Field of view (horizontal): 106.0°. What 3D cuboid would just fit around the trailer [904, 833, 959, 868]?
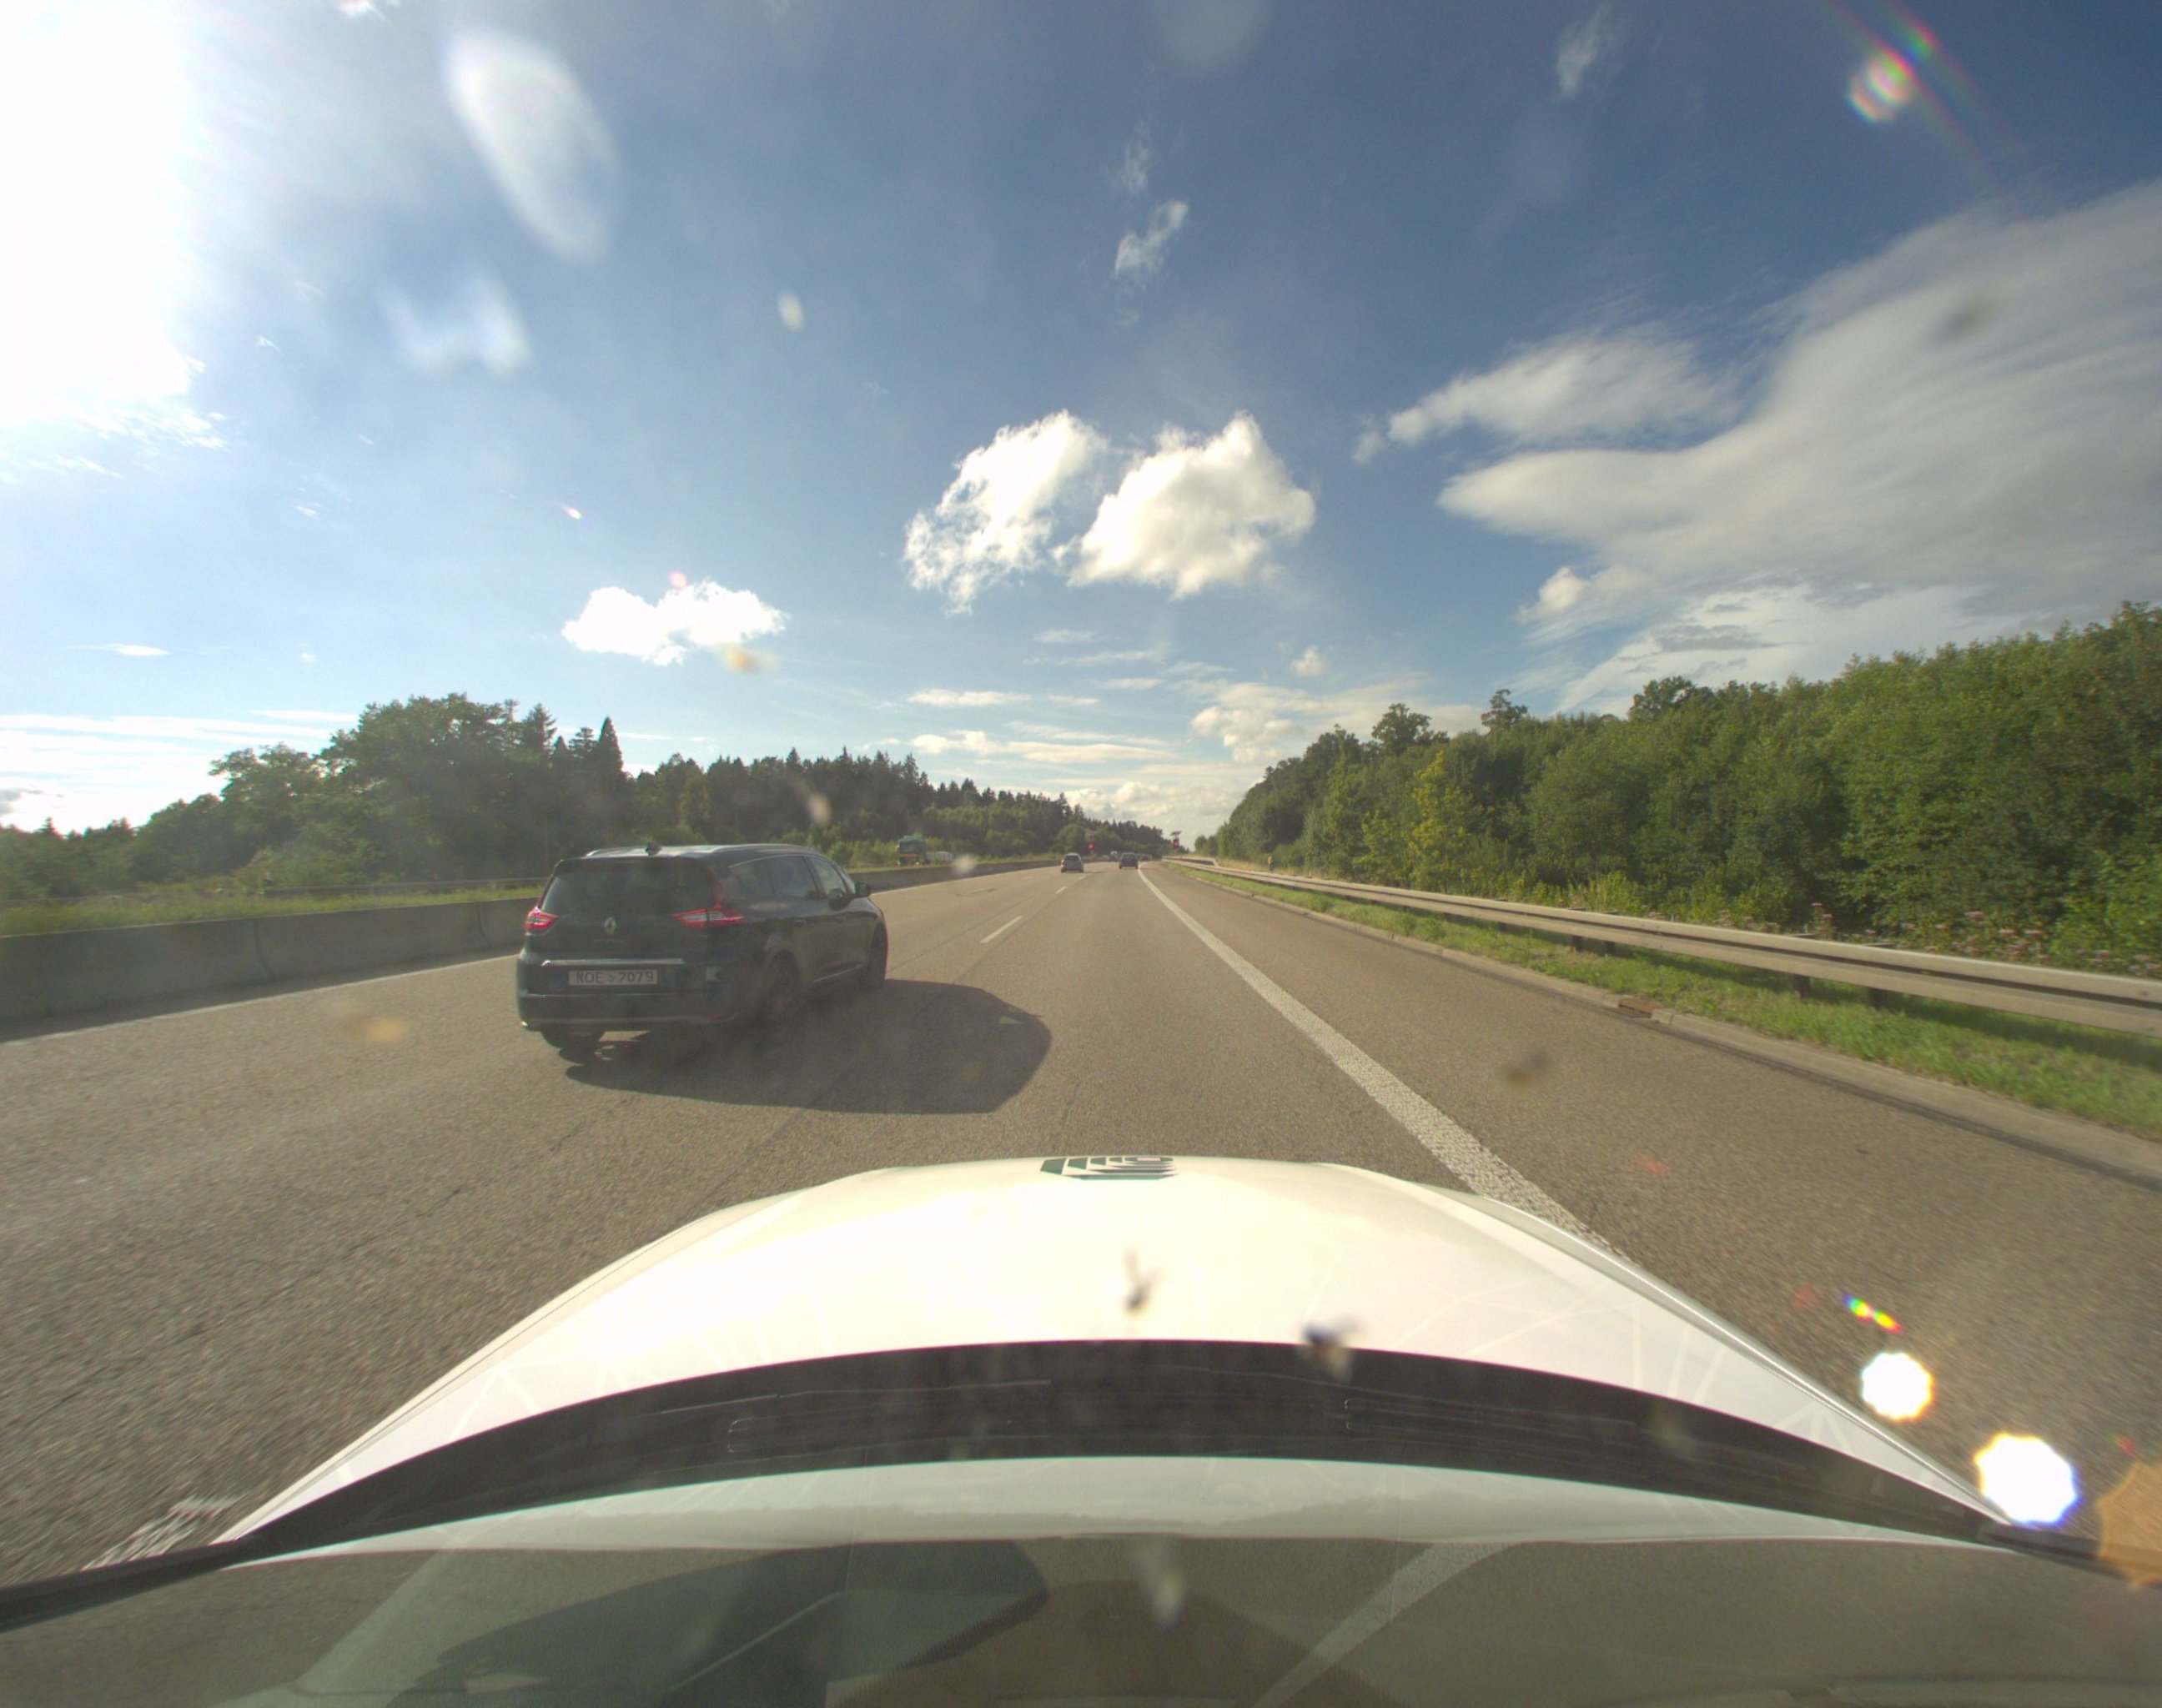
[{"bbox_3d":[-17.860,-0.400,98.529,3.361,4.009,13.651,-1,0,3],"label":"trailer"}]

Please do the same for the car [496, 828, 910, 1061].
[{"bbox_3d":[-3.286,0.666,8.316,1.986,1.707,4.531,-1,0,1],"label":"car"}]

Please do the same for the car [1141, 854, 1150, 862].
[{"bbox_3d":[15.540,0.974,196.244,1.803,1.706,4.007,-1,0,6],"label":"car"}]

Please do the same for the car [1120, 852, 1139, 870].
[{"bbox_3d":[4.895,0.693,82.870,1.866,1.675,3.892,-1,0,2],"label":"car"}]

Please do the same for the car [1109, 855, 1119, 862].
[{"bbox_3d":[7.307,0.909,181.896,1.864,1.497,3.887,-1,0,7],"label":"car"}]

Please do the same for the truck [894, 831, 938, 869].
[{"bbox_3d":[-18.308,-0.401,90.553,3.361,4.009,5.868,-1,0,3],"label":"truck"}]

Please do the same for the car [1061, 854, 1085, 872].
[{"bbox_3d":[-0.664,0.732,69.186,1.867,1.497,3.881,-1,0,1],"label":"car"}]
